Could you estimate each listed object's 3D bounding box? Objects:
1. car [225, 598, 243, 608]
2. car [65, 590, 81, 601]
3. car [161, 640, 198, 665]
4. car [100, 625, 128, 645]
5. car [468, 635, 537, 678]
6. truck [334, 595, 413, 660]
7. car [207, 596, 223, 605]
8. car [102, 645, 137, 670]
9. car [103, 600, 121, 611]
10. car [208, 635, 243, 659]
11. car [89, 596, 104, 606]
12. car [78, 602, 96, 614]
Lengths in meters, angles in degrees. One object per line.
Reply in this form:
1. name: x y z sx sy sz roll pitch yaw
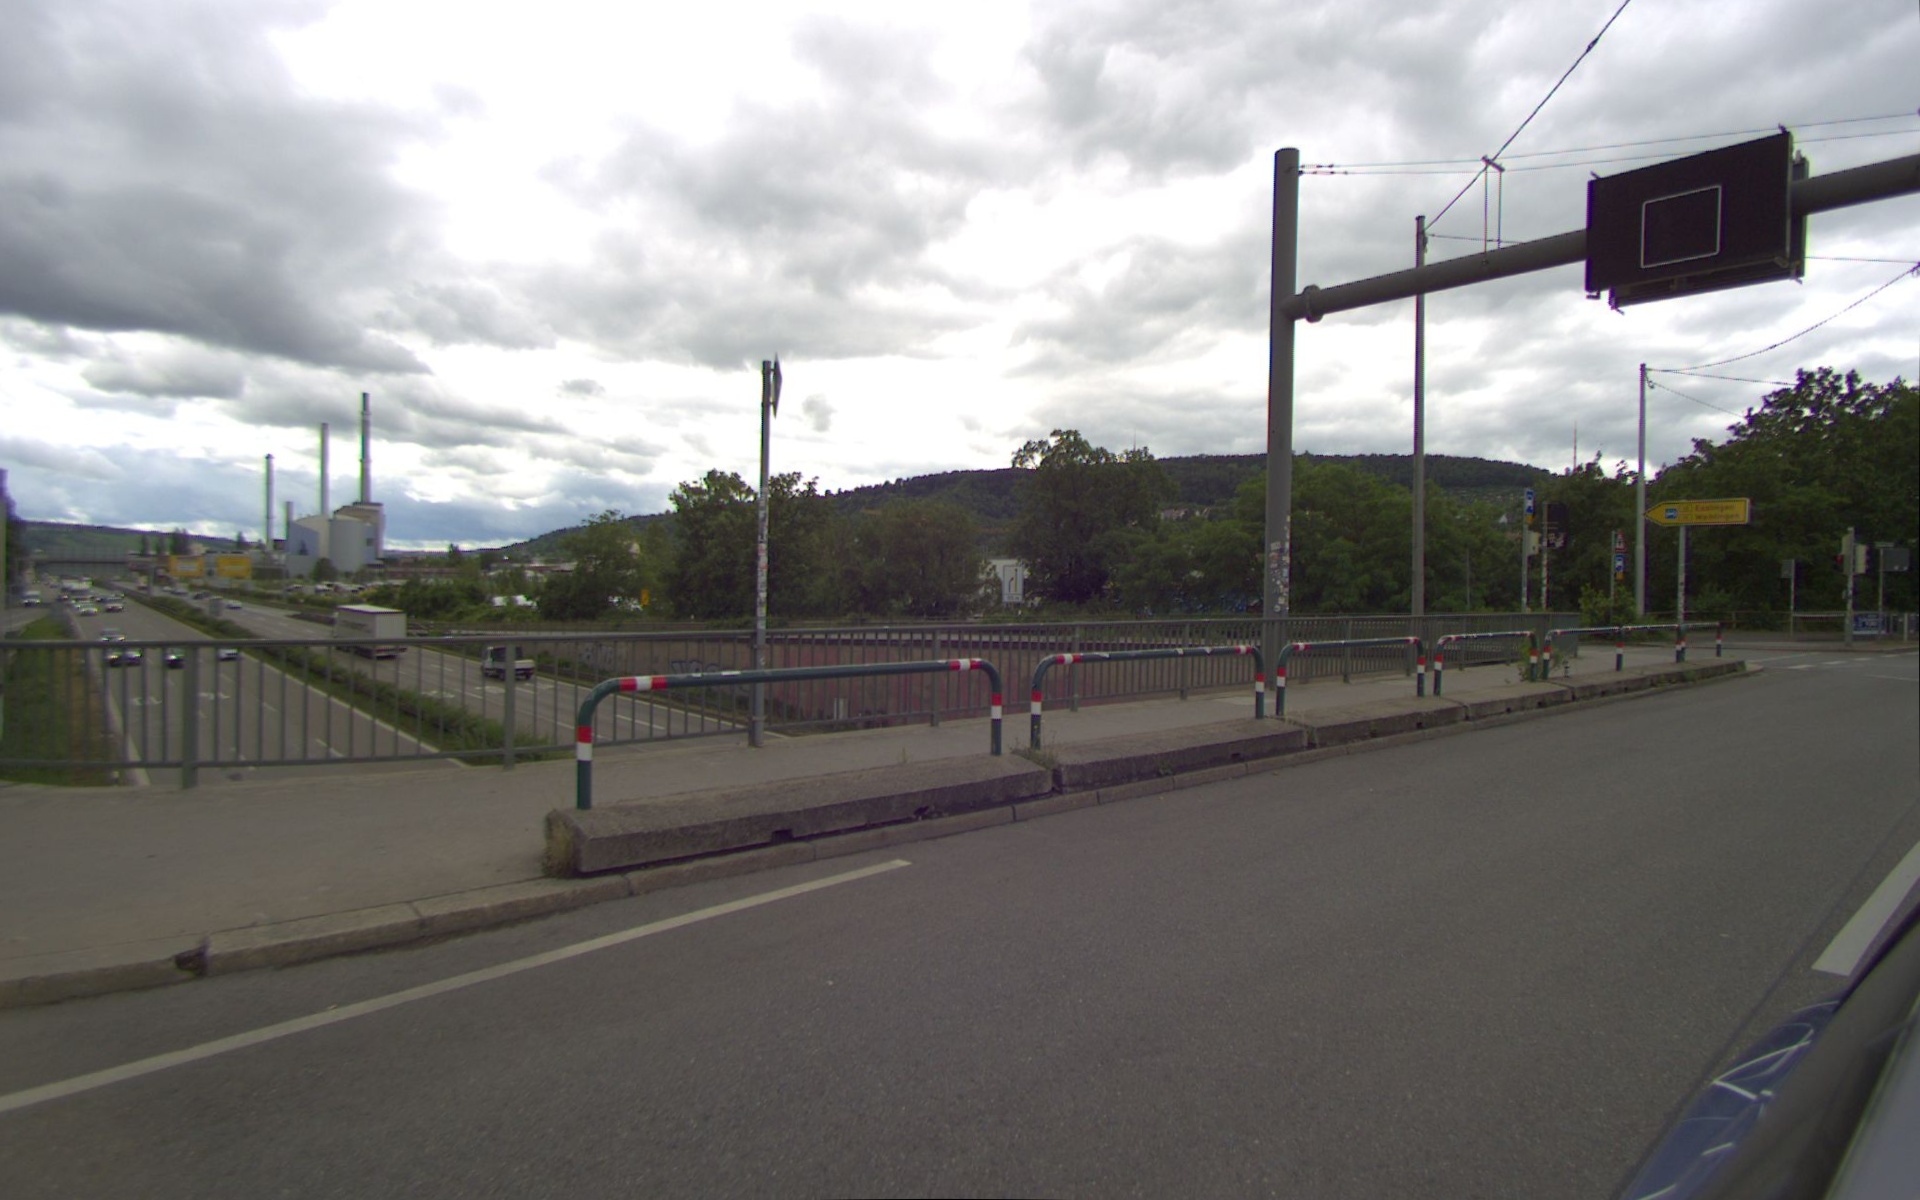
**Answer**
1. car: -128.087 0.510 178.436 1.968 1.758 3.986 -2 1 -44
2. car: -152.368 -0.772 173.861 1.966 1.728 4.071 -2 1 -42
3. car: -60.848 4.059 78.880 1.966 1.728 4.071 -2 1 -42
4. car: -83.385 3.424 99.755 1.966 1.728 4.071 -2 1 -42
5. car: -32.953 3.995 72.750 2.868 2.530 7.273 -2 1 -37
6. truck: -52.114 2.279 89.707 3.526 4.540 13.165 1 3 -41
7. car: -145.225 0.094 197.229 1.968 1.758 3.985 -2 1 -45
8. car: -66.466 4.526 79.978 1.966 1.728 4.071 -2 1 -42
9. car: -132.983 0.868 158.703 1.966 1.728 4.071 -2 1 -42
10. car: -61.259 3.901 84.407 1.966 1.728 4.071 -2 1 -42
11. car: -163.497 0.155 191.621 1.966 1.728 4.071 -2 1 -42
12. car: -129.029 1.198 149.549 1.966 1.728 4.071 -2 1 -42
